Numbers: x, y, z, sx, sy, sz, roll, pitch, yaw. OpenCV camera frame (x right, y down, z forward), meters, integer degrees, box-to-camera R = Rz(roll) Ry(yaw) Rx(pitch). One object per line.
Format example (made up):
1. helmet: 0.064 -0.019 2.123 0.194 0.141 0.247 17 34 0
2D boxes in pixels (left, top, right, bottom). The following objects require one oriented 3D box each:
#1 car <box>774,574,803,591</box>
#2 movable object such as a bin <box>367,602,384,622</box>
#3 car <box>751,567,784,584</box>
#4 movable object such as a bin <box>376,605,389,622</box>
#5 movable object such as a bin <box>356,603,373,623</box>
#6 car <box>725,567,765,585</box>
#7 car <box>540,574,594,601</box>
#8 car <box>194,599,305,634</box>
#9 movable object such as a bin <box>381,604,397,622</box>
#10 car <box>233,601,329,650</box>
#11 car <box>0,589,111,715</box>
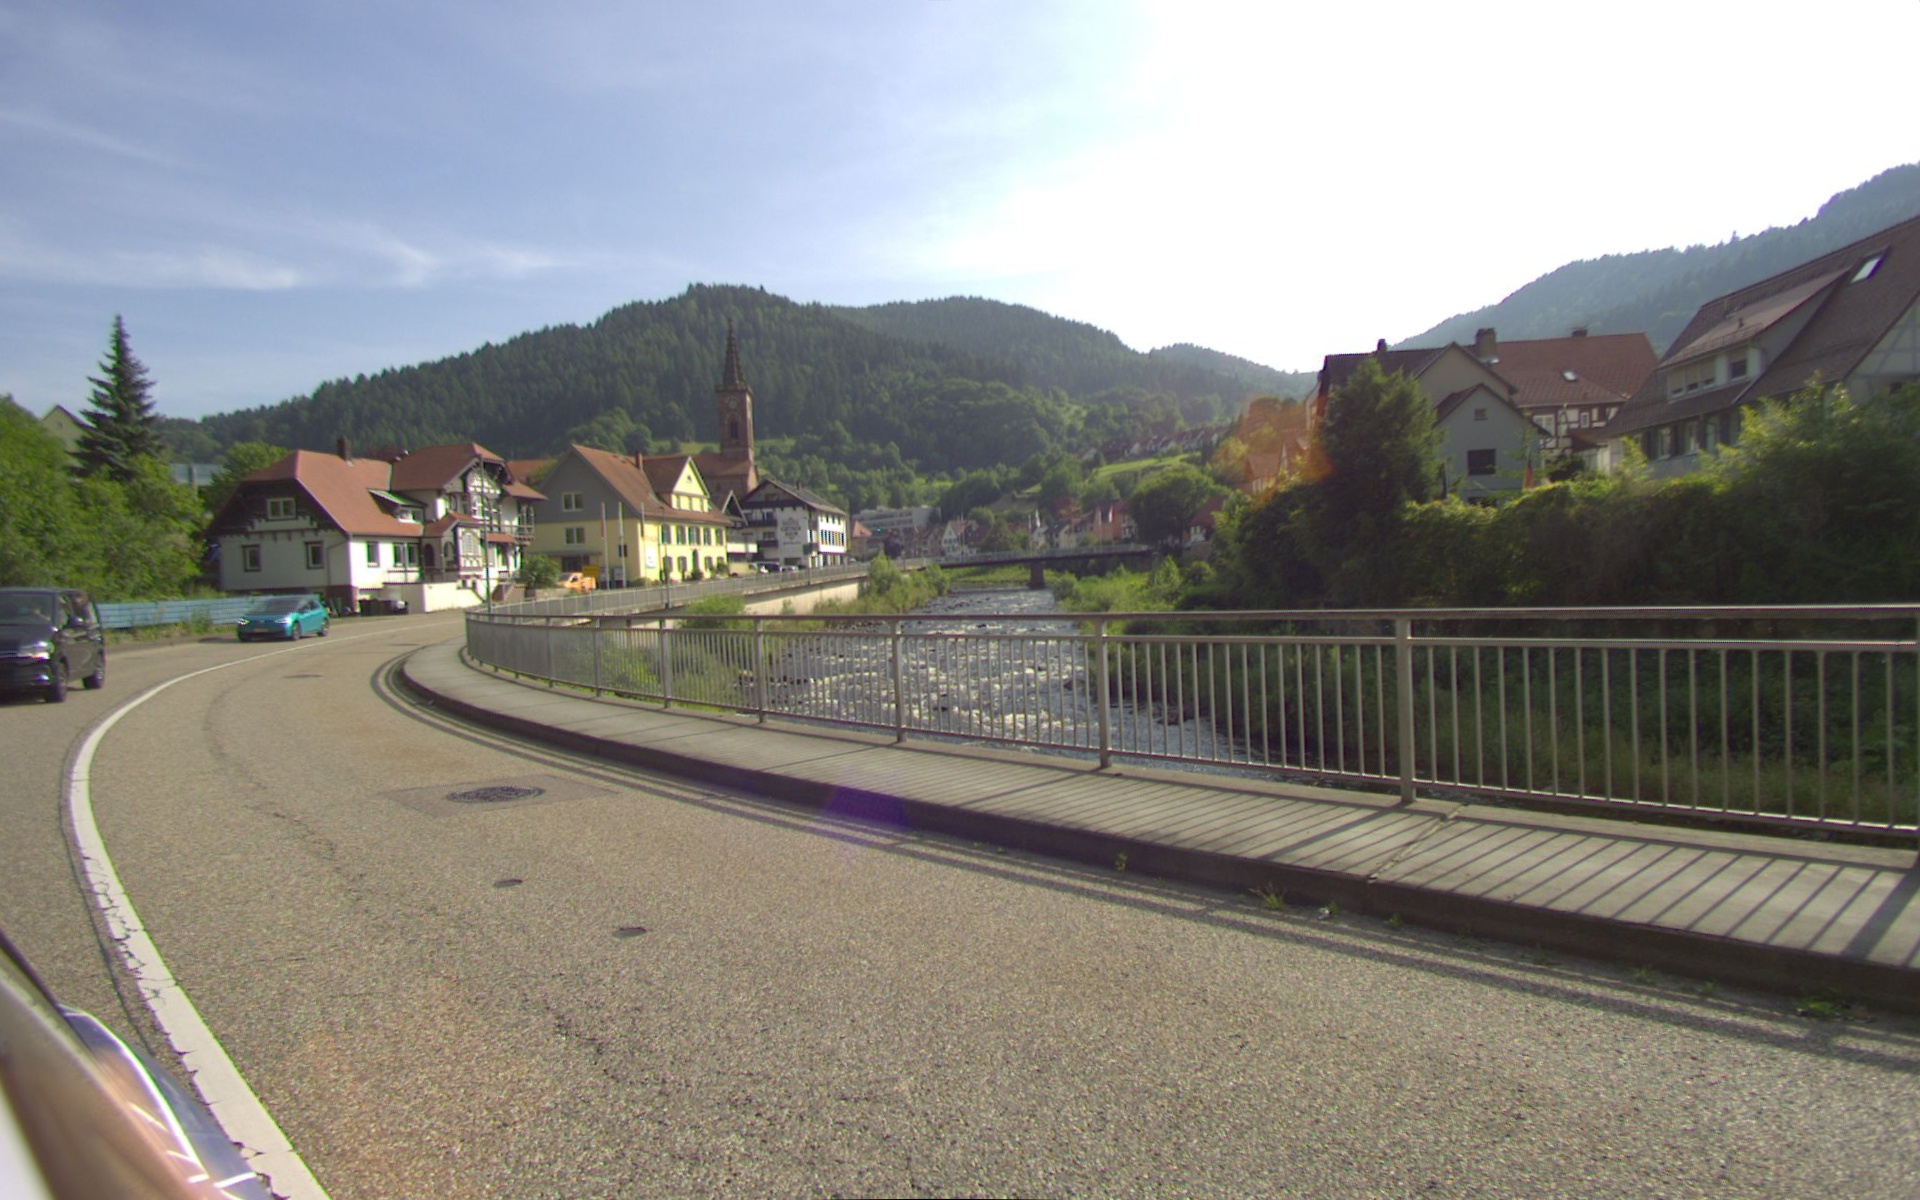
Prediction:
1. car: -18.025 -1.863 106.464 1.800 1.655 3.989 0 2 9
2. movable object such as a bin: -33.291 0.699 57.656 0.472 1.070 0.752 -3 2 4
3. car: -23.813 -3.042 125.126 3.719 1.907 1.367 2 3 11
4. movable object such as a bin: -32.844 0.766 57.565 0.363 0.906 0.547 -3 2 -2
5. movable object such as a bin: -33.871 0.722 57.564 0.472 1.070 0.752 -3 2 4
6. car: -26.019 -2.976 122.739 4.410 1.972 1.708 3 3 11
7. car: -31.183 -1.032 80.438 1.893 2.012 4.823 2 2 8
8. car: -34.690 0.792 49.570 4.256 1.480 1.843 -3 1 -32
9. movable object such as a bin: -32.372 0.724 57.334 0.467 0.943 0.652 -3 2 4
10. car: -25.208 0.916 37.694 1.656 1.533 3.876 -1 3 -13
11. car: -16.693 0.833 17.861 1.857 1.979 4.880 0 0 -31
